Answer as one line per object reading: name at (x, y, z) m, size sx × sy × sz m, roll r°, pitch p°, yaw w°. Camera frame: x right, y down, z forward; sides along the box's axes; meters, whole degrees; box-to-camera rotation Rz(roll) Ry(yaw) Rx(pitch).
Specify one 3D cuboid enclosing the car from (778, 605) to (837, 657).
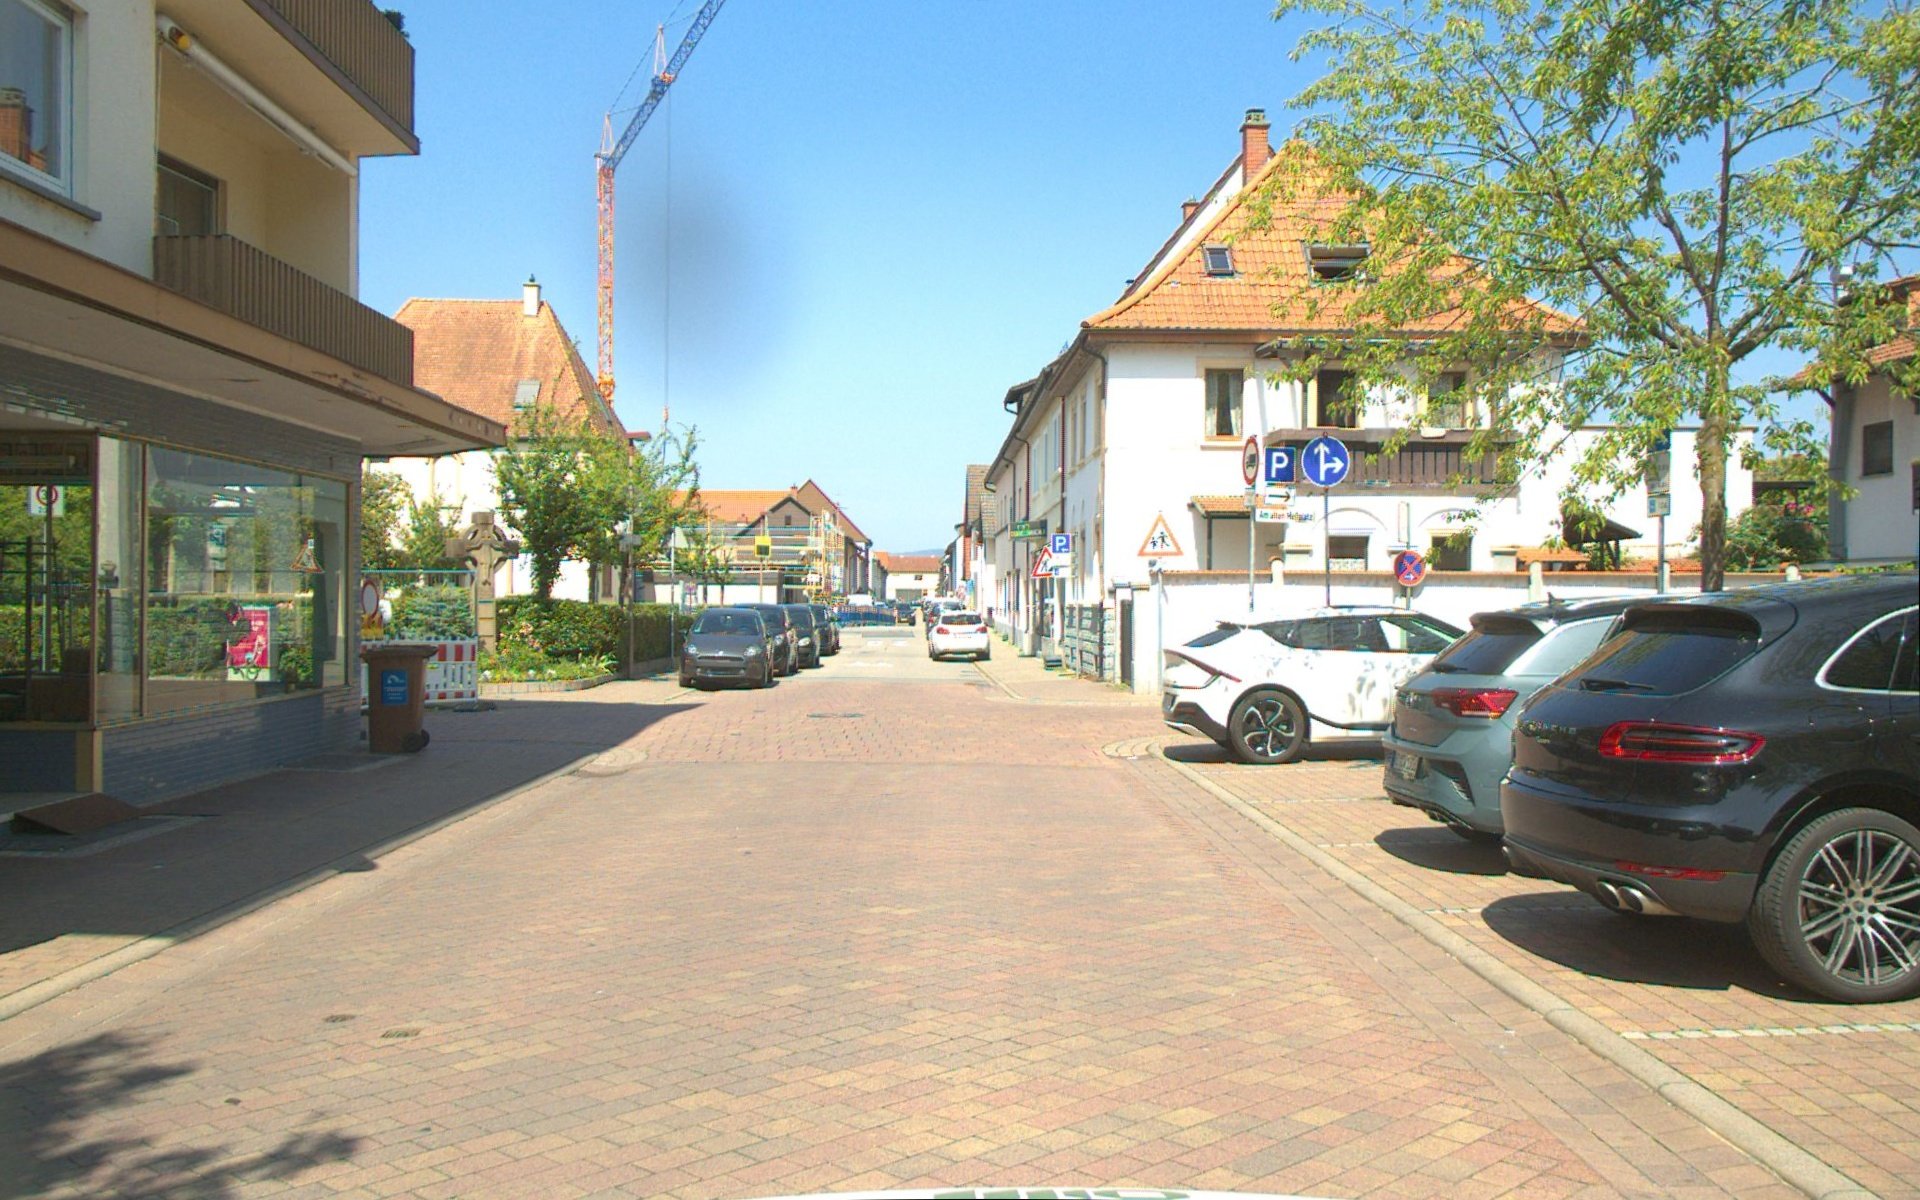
car at (-5.033, 0.995, 54.905) m, size 1.790 × 1.659 × 4.214 m, roll 0°, pitch 0°, yaw -3°

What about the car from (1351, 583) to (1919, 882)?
car at (4.566, 0.719, 10.114) m, size 3.864 × 1.561 × 1.823 m, roll -2°, pitch 0°, yaw -2°

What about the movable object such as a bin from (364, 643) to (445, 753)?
movable object such as a bin at (-5.672, 0.993, 16.916) m, size 0.642 × 1.089 × 0.663 m, roll 1°, pitch -1°, yaw -7°

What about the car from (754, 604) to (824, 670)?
car at (-4.524, 0.949, 44.136) m, size 1.605 × 1.657 × 3.766 m, roll 0°, pitch 0°, yaw -2°

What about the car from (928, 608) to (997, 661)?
car at (0.121, 1.034, 51.261) m, size 1.847 × 1.569 × 4.244 m, roll 0°, pitch 0°, yaw 4°

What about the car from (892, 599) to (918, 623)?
car at (-4.069, 0.788, 122.415) m, size 1.844 × 1.697 × 4.151 m, roll 1°, pitch 0°, yaw -2°

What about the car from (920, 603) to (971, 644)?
car at (-0.663, 0.987, 70.949) m, size 1.848 × 1.583 × 3.891 m, roll -3°, pitch 0°, yaw -4°

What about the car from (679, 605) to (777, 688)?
car at (-4.519, 0.870, 32.613) m, size 1.669 × 1.523 × 3.853 m, roll 0°, pitch 0°, yaw -5°

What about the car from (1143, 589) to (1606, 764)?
car at (4.243, 0.755, 17.340) m, size 4.352 × 1.603 × 1.787 m, roll -2°, pitch 0°, yaw -4°

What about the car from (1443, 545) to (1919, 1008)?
car at (4.551, 0.635, 7.315) m, size 4.194 × 1.710 × 1.999 m, roll -1°, pitch 0°, yaw -4°

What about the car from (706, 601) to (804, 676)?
car at (-4.716, 0.857, 38.457) m, size 1.778 × 1.633 × 4.024 m, roll 0°, pitch 0°, yaw 0°
